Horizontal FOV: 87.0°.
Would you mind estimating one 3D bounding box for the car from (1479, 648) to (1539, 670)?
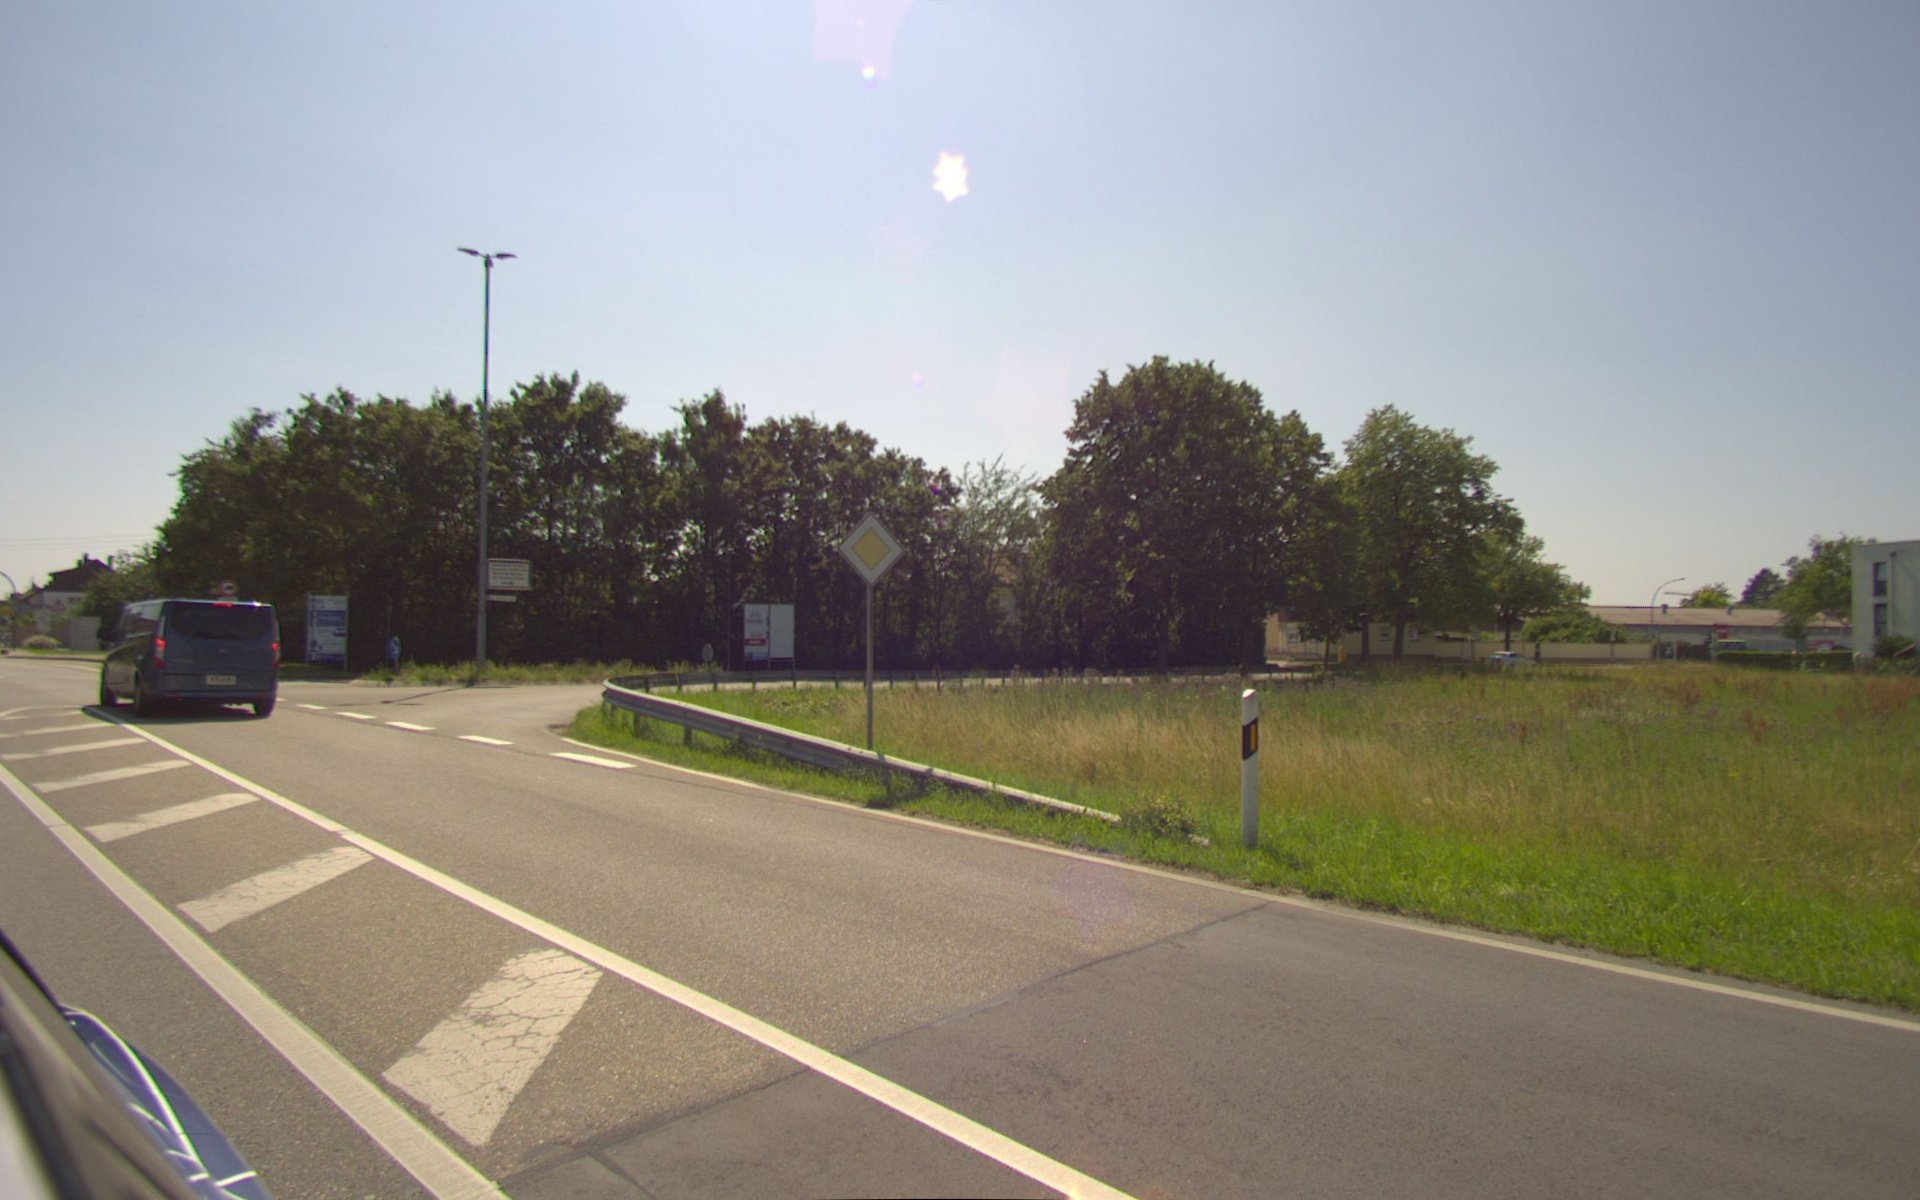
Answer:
[{"bbox_3d":[38.421,4.118,70.766,4.340,1.482,1.646,2,-3,-30],"label":"car"}]

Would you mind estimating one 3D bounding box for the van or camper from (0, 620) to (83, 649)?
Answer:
[{"bbox_3d":[-94.297,3.545,103.708,2.285,2.866,6.188,-1,-3,35],"label":"van or camper"}]

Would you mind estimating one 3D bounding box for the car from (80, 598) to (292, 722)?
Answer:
[{"bbox_3d":[-14.374,1.066,18.670,5.246,1.966,2.121,-2,-4,42],"label":"car"}]

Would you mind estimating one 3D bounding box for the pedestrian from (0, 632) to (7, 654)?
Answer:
[{"bbox_3d":[-71.681,3.232,75.667,0.688,1.620,0.607,-2,0,44],"label":"pedestrian"}]
